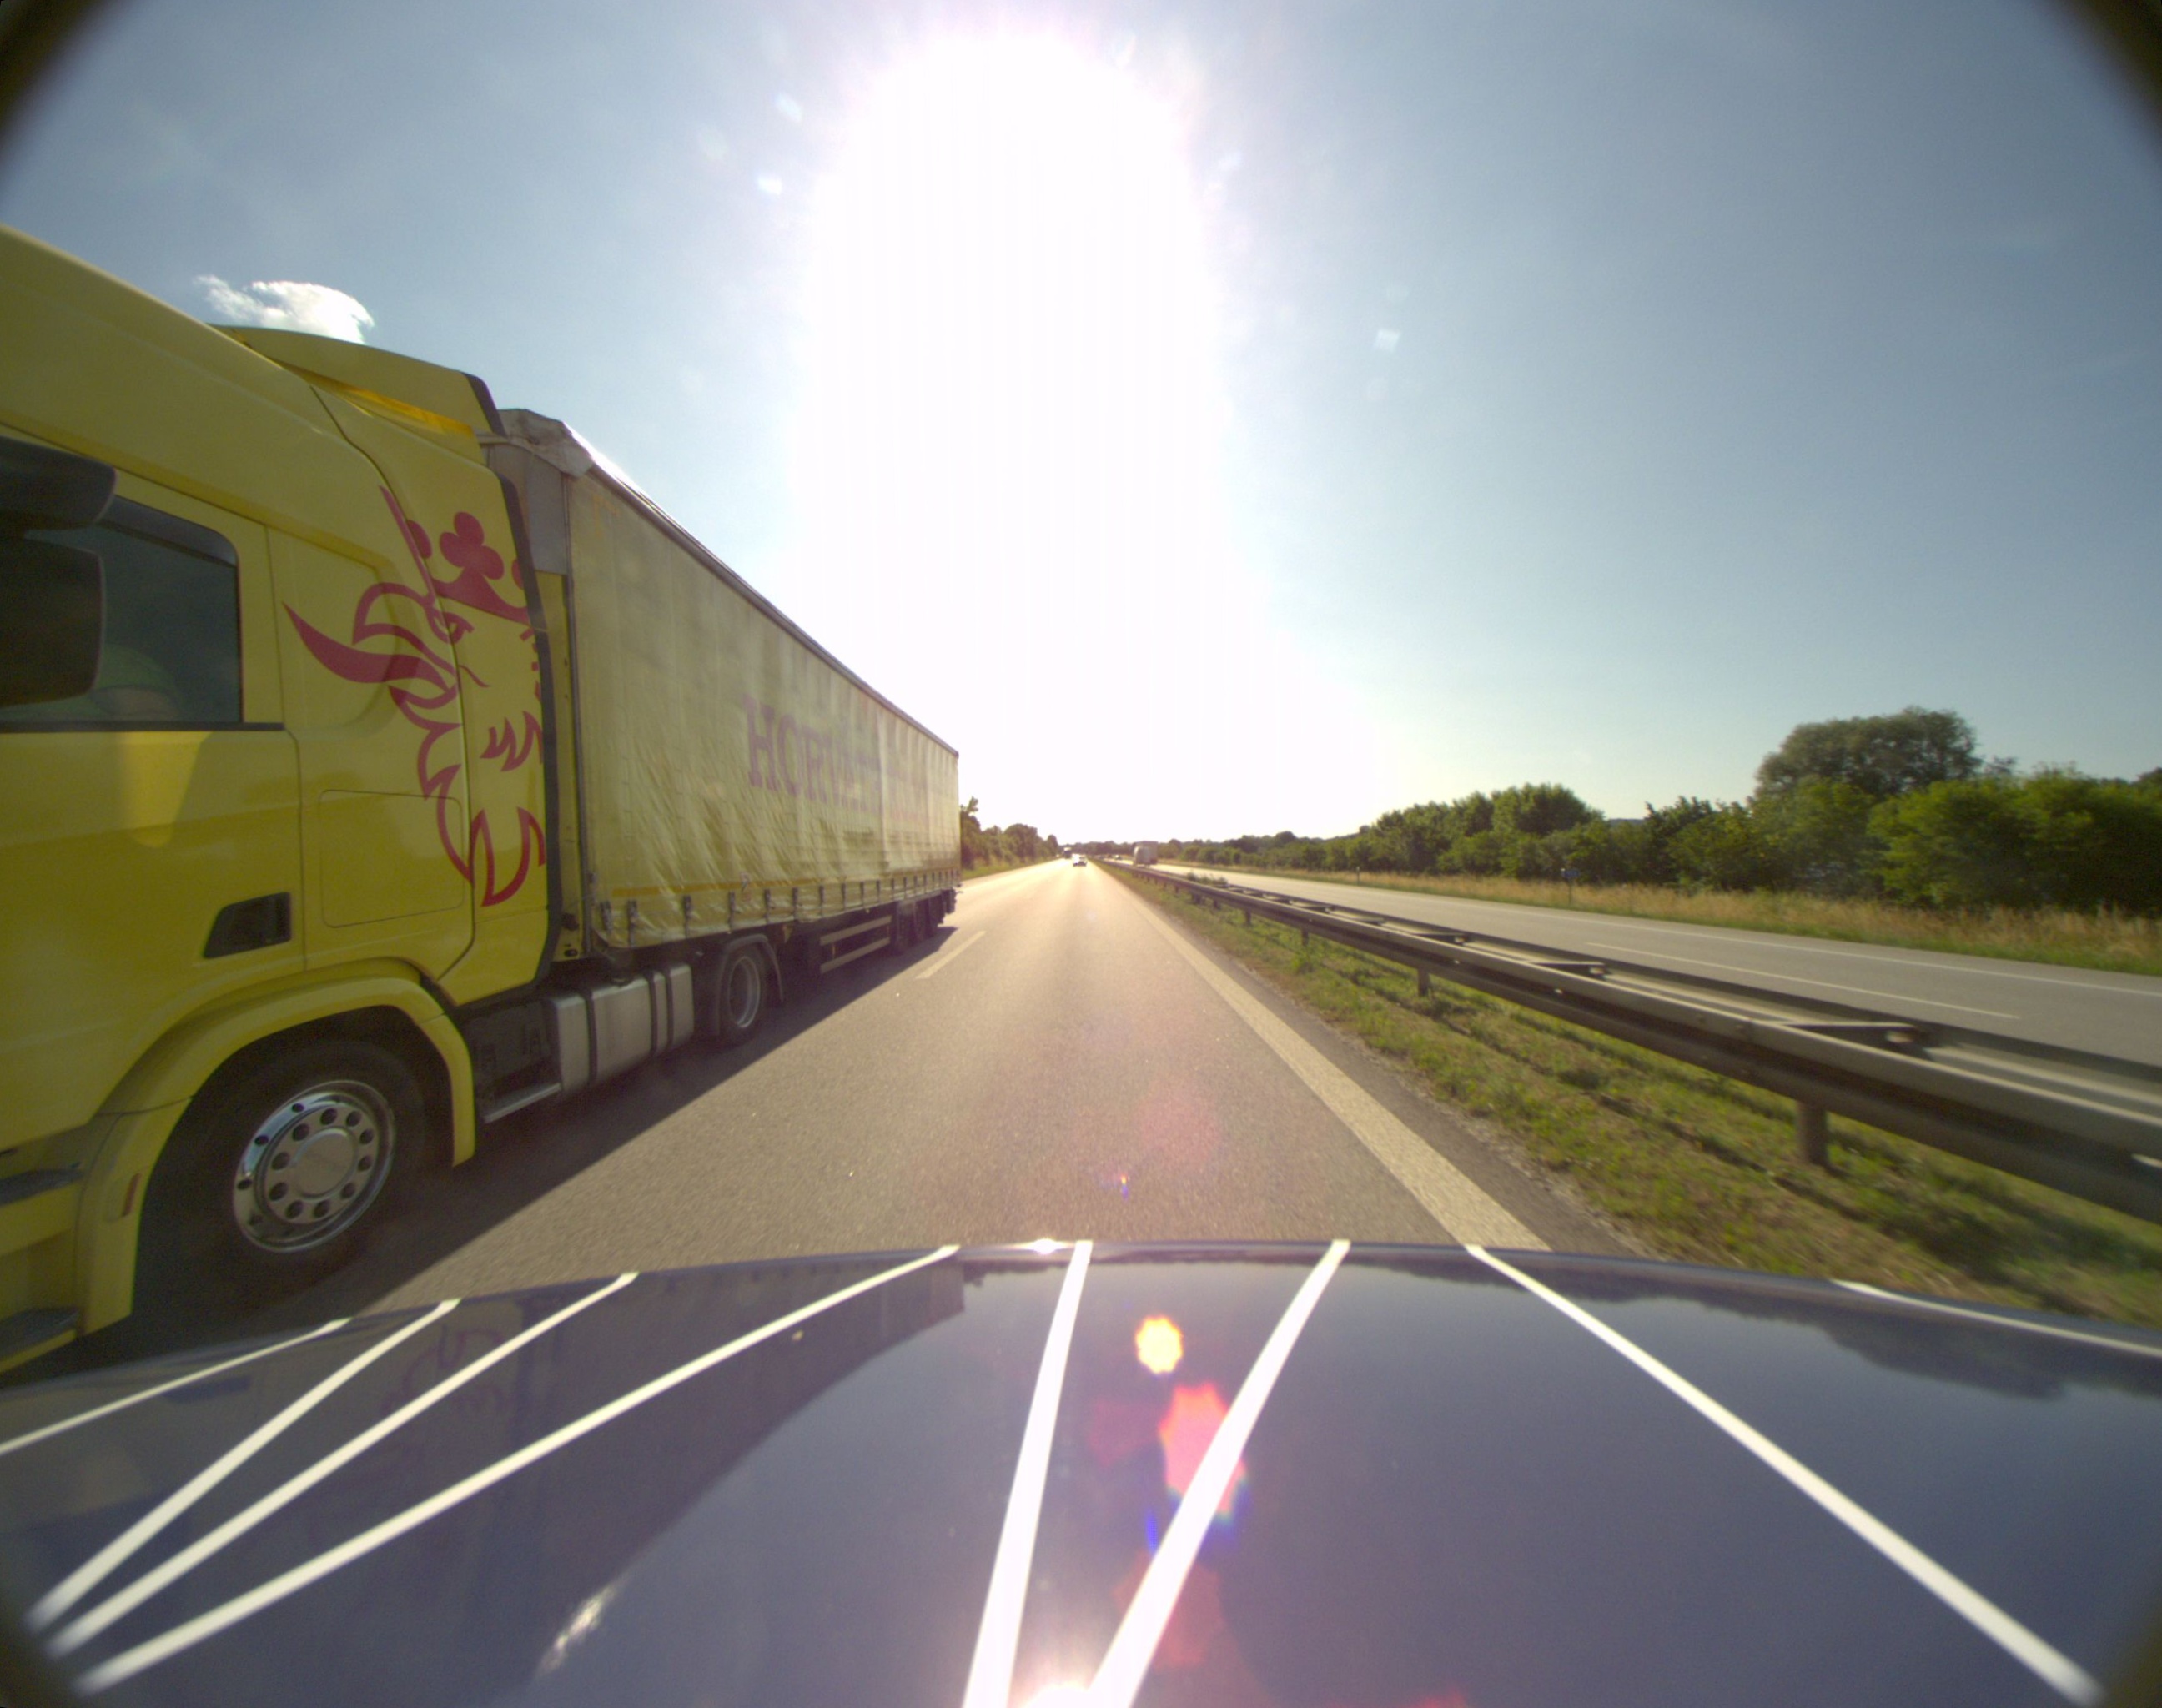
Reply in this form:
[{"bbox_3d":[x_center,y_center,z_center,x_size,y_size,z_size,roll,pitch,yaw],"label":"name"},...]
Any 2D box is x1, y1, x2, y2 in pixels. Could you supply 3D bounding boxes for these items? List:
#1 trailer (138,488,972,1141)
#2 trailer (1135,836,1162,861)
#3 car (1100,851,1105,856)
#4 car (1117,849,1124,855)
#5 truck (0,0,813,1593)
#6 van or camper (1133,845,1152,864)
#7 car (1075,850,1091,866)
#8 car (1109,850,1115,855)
[{"bbox_3d":[-4.272,-0.298,11.435,3.193,4.036,13.184,-2,1,0],"label":"trailer"},{"bbox_3d":[11.634,-1.017,132.091,3.193,4.036,14.595,2,1,0],"label":"trailer"},{"bbox_3d":[7.443,-0.234,262.929,1.771,1.412,4.470,3,1,2],"label":"car"},{"bbox_3d":[10.808,-0.441,207.007,1.730,1.573,4.767,2,1,1],"label":"car"},{"bbox_3d":[-4.270,-0.251,4.266,3.177,4.090,6.387,-2,1,-1],"label":"truck"},{"bbox_3d":[8.622,0.006,106.616,1.998,2.482,7.227,1,1,0],"label":"van or camper"},{"bbox_3d":[0.197,0.536,101.185,1.999,2.002,4.358,-2,1,0],"label":"car"},{"bbox_3d":[10.977,-0.523,267.832,1.954,1.761,4.748,3,1,2],"label":"car"}]
